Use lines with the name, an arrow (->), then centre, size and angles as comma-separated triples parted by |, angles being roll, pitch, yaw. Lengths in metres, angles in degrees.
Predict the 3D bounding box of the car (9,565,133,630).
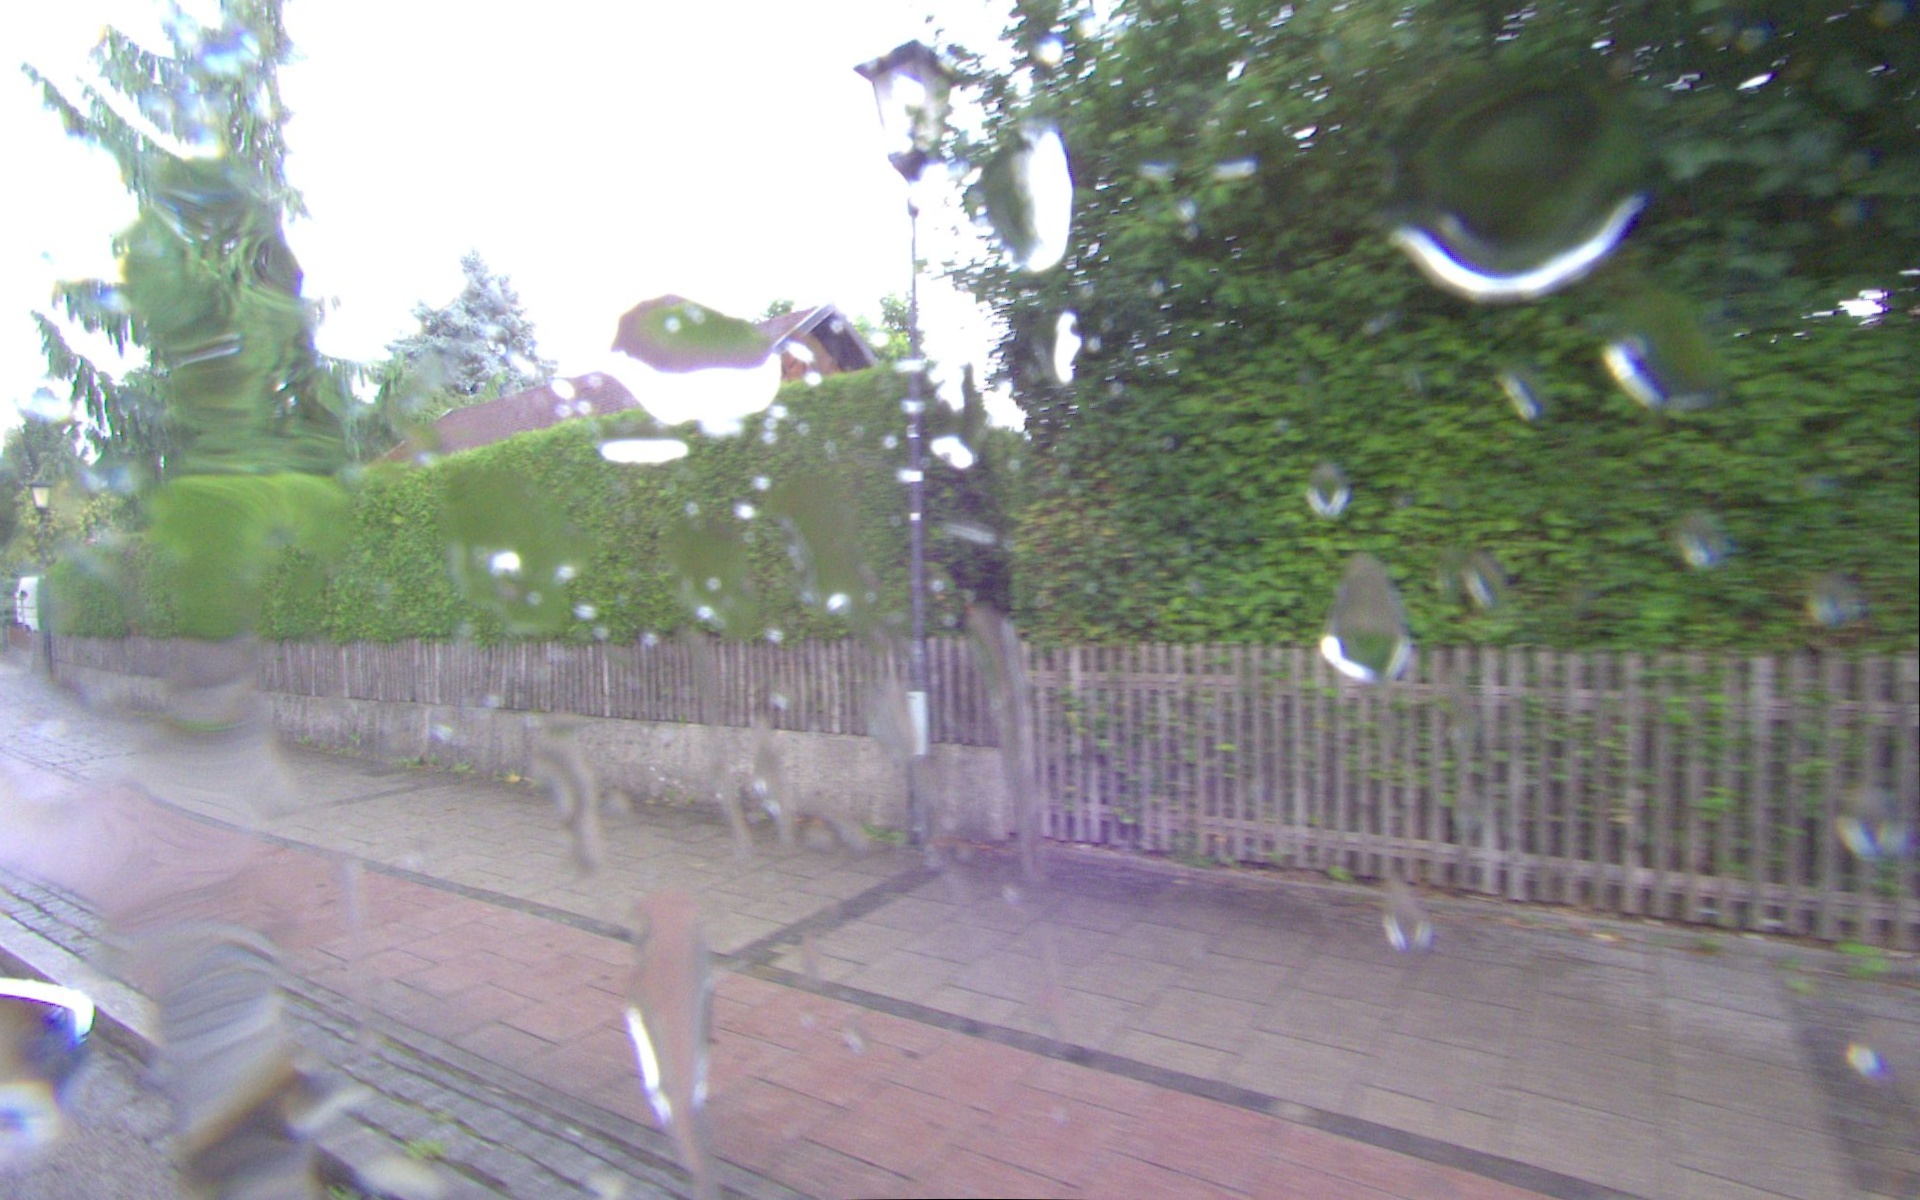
car -> -32.673, -0.027, 36.777 | 4.879, 2.201, 1.992 | -1, -2, 30
